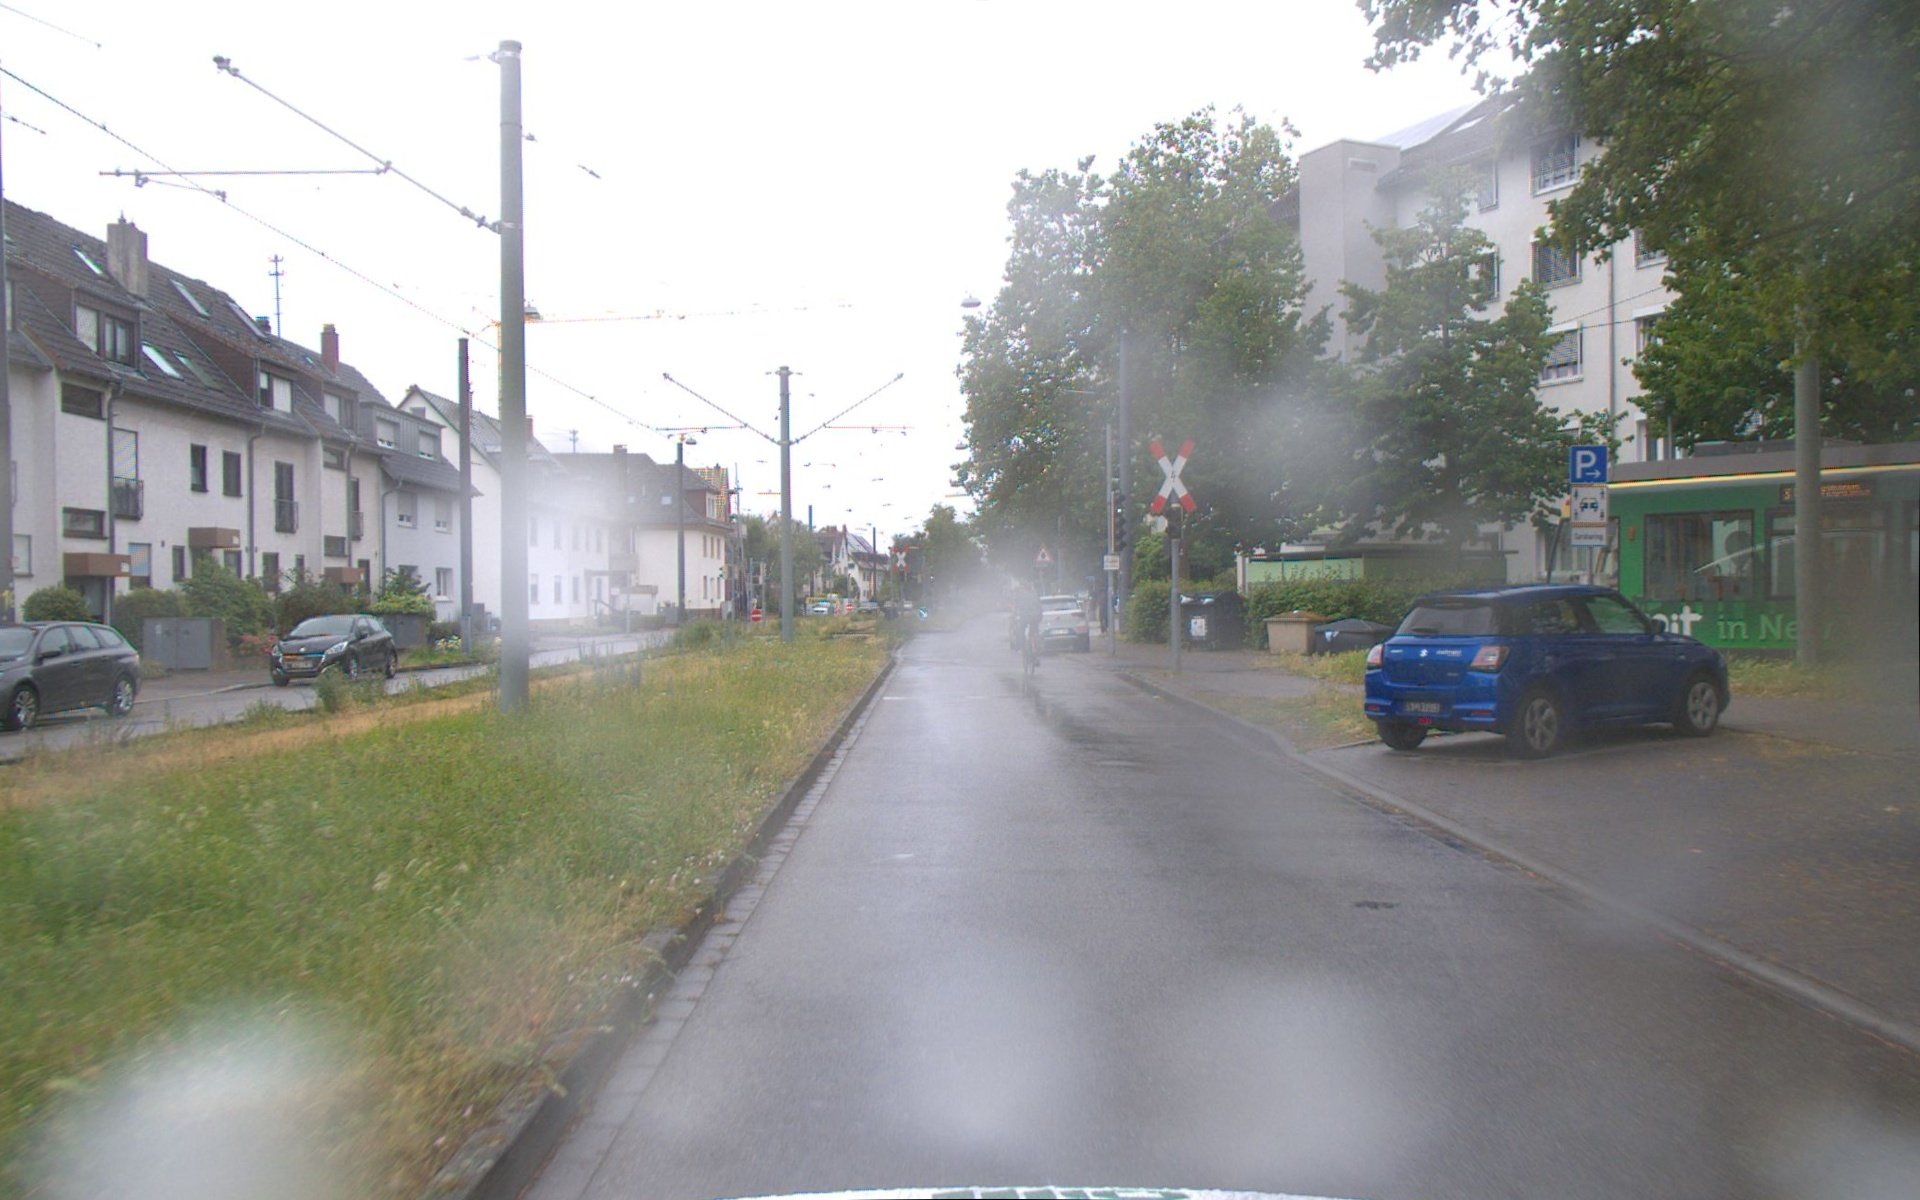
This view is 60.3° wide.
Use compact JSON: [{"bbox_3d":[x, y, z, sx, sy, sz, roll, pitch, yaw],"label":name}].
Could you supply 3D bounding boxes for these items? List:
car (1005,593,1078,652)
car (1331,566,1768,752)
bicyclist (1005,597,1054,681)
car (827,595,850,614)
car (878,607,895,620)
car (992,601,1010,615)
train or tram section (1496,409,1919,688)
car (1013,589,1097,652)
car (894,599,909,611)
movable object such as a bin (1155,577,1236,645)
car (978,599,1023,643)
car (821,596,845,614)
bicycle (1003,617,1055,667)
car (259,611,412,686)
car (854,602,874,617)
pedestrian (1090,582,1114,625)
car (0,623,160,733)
[{"bbox_3d":[2.509,0.711,51.771,1.902,1.680,3.998,-3,-1,-2],"label":"car"},{"bbox_3d":[5.696,0.464,15.901,3.949,1.509,1.978,-2,2,-33],"label":"car"},{"bbox_3d":[1.343,0.750,32.159,0.814,1.585,0.913,-2,-1,-4],"label":"bicyclist"},{"bbox_3d":[-12.255,0.437,167.459,1.952,1.735,4.000,-1,-2,1],"label":"car"},{"bbox_3d":[-9.720,1.758,218.685,1.952,1.571,4.000,-1,-2,1],"label":"car"},{"bbox_3d":[4.850,0.940,195.383,1.953,1.518,3.999,-1,-2,0],"label":"car"},{"bbox_3d":[14.366,-0.682,21.693,2.693,3.653,14.503,1,-2,-43],"label":"train or tram section"},{"bbox_3d":[2.594,0.575,45.992,1.915,1.580,3.998,-3,-1,-2],"label":"car"},{"bbox_3d":[-8.449,0.799,240.842,1.952,1.571,4.000,-1,-2,1],"label":"car"},{"bbox_3d":[6.220,0.295,43.753,1.529,1.734,1.489,-2,0,-24],"label":"movable object such as a bin"},{"bbox_3d":[1.950,1.034,81.274,1.902,2.048,3.998,-3,-1,-2],"label":"car"},{"bbox_3d":[-12.373,0.517,161.828,1.952,1.571,4.000,-1,-2,1],"label":"car"},{"bbox_3d":[1.337,0.807,32.352,0.805,0.928,1.984,-2,-1,-3],"label":"bicycle"},{"bbox_3d":[-13.695,1.076,36.518,1.838,1.530,4.132,-1,-2,-1],"label":"car"},{"bbox_3d":[-11.212,1.141,193.050,1.952,1.571,4.000,-1,-2,1],"label":"car"},{"bbox_3d":[5.853,0.147,68.196,0.732,1.746,0.750,-3,-1,23],"label":"pedestrian"},{"bbox_3d":[-13.504,1.120,23.972,1.568,1.449,4.665,-1,-2,0],"label":"car"}]
